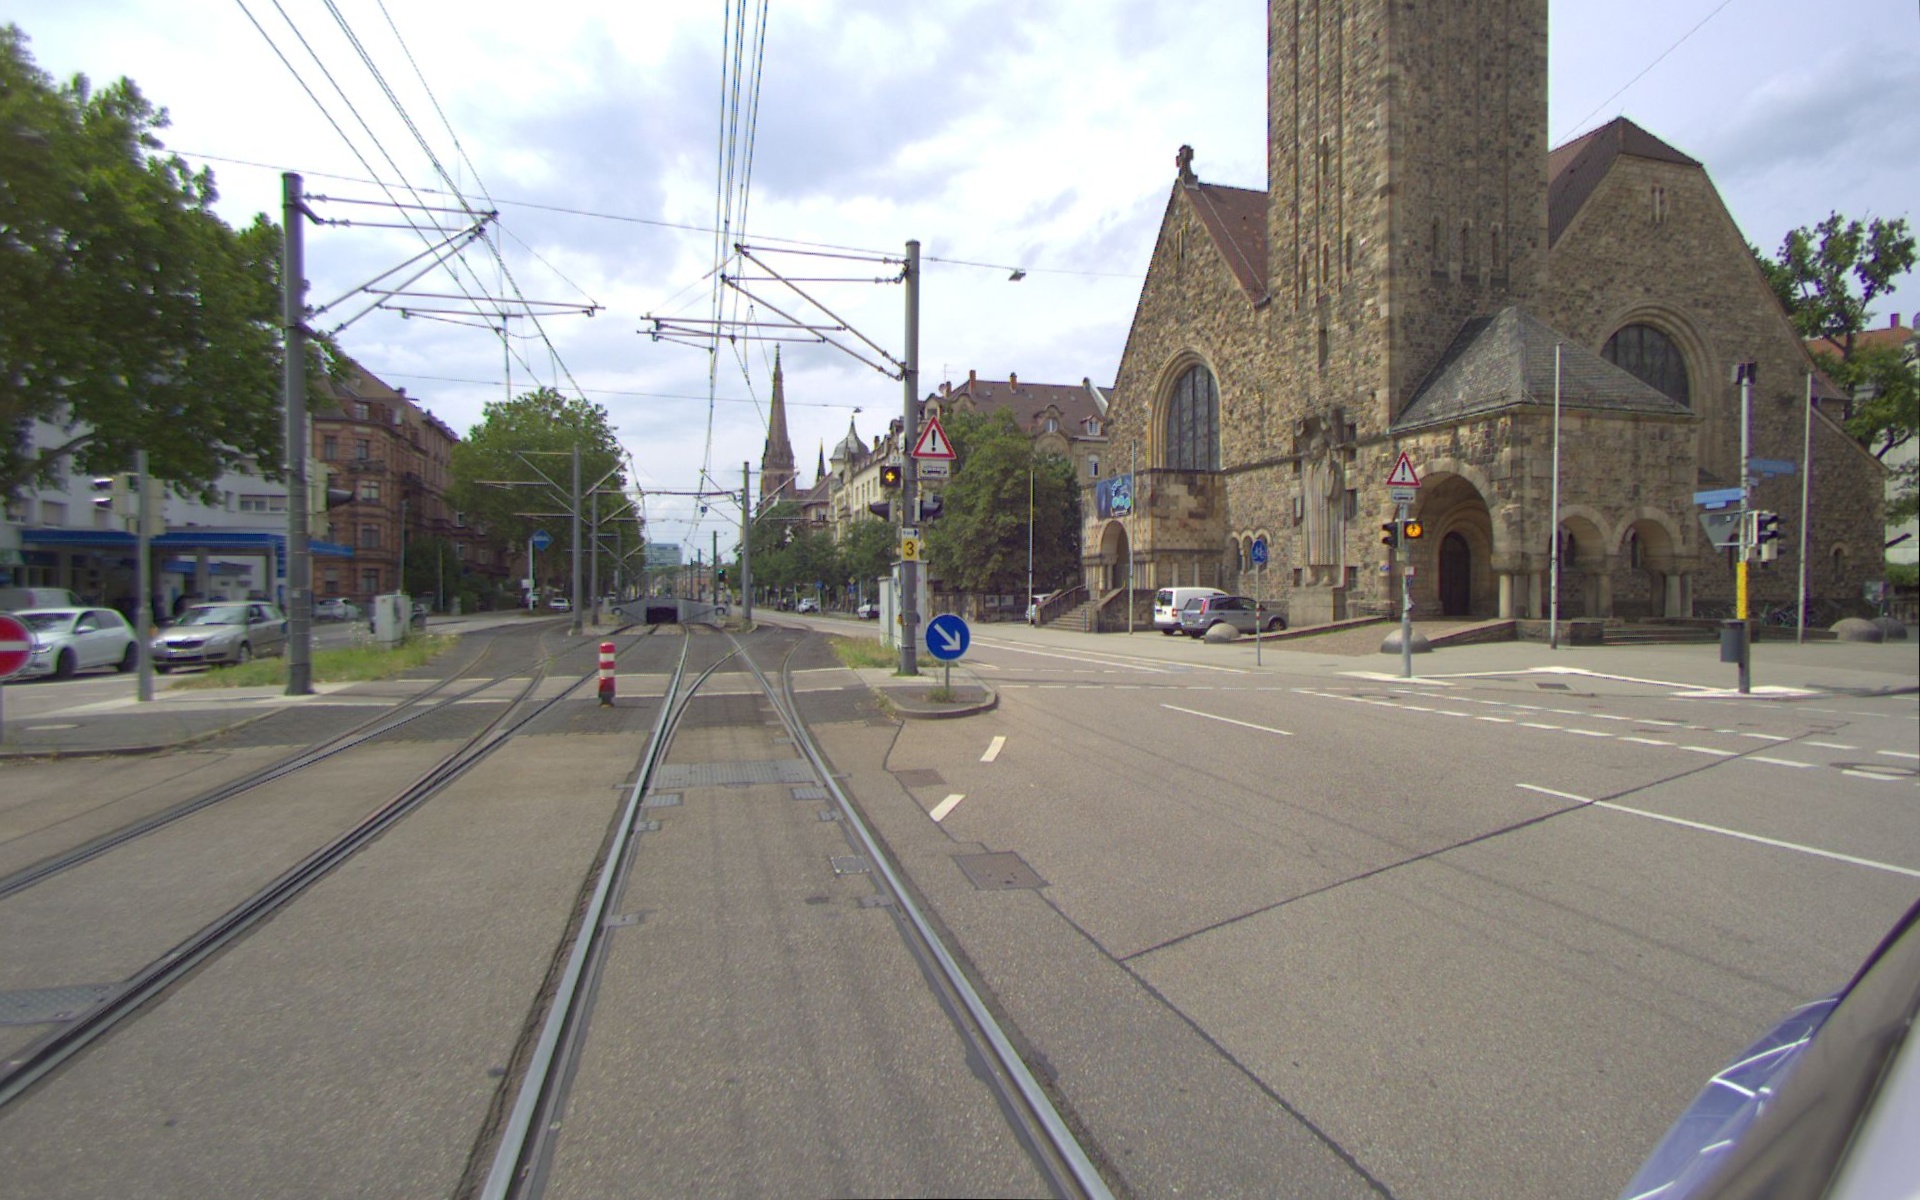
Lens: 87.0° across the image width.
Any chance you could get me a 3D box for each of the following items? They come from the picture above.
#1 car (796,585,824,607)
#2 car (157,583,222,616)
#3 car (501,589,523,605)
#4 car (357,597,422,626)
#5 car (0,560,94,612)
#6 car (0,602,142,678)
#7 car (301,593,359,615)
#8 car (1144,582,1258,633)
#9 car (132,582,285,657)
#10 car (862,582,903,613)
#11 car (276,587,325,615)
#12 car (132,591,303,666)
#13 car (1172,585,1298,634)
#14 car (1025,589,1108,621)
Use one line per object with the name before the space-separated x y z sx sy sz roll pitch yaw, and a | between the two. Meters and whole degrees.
car | -14.545 -0.393 98.022 1.958 2.039 4.008 0 1 -18
car | -49.549 -0.033 65.144 1.958 2.039 4.008 0 0 -15
car | -55.973 -0.390 126.443 1.958 2.039 4.008 0 0 -16
car | -26.832 0.515 47.755 1.958 1.282 4.008 0 0 -19
car | -35.822 -0.530 39.217 1.958 1.901 4.391 0 0 -20
car | -18.935 0.753 20.957 1.800 1.401 4.297 0 0 -20
car | -38.091 0.200 61.268 1.958 1.282 4.008 0 0 -16
car | 9.368 0.255 39.431 3.871 1.905 2.004 0 0 -16
car | -22.087 0.486 29.961 1.959 2.039 4.007 -1 1 -9
car | -5.231 -0.193 67.698 1.958 2.039 4.009 0 1 -16
car | -50.010 0.084 76.785 1.958 2.039 4.008 0 0 -15
car | -16.531 0.565 22.805 1.800 1.530 4.297 0 0 -17
car | 9.885 0.315 36.522 3.916 1.672 2.004 0 0 -16
car | 5.606 0.246 53.288 3.871 1.661 2.004 0 0 -16
